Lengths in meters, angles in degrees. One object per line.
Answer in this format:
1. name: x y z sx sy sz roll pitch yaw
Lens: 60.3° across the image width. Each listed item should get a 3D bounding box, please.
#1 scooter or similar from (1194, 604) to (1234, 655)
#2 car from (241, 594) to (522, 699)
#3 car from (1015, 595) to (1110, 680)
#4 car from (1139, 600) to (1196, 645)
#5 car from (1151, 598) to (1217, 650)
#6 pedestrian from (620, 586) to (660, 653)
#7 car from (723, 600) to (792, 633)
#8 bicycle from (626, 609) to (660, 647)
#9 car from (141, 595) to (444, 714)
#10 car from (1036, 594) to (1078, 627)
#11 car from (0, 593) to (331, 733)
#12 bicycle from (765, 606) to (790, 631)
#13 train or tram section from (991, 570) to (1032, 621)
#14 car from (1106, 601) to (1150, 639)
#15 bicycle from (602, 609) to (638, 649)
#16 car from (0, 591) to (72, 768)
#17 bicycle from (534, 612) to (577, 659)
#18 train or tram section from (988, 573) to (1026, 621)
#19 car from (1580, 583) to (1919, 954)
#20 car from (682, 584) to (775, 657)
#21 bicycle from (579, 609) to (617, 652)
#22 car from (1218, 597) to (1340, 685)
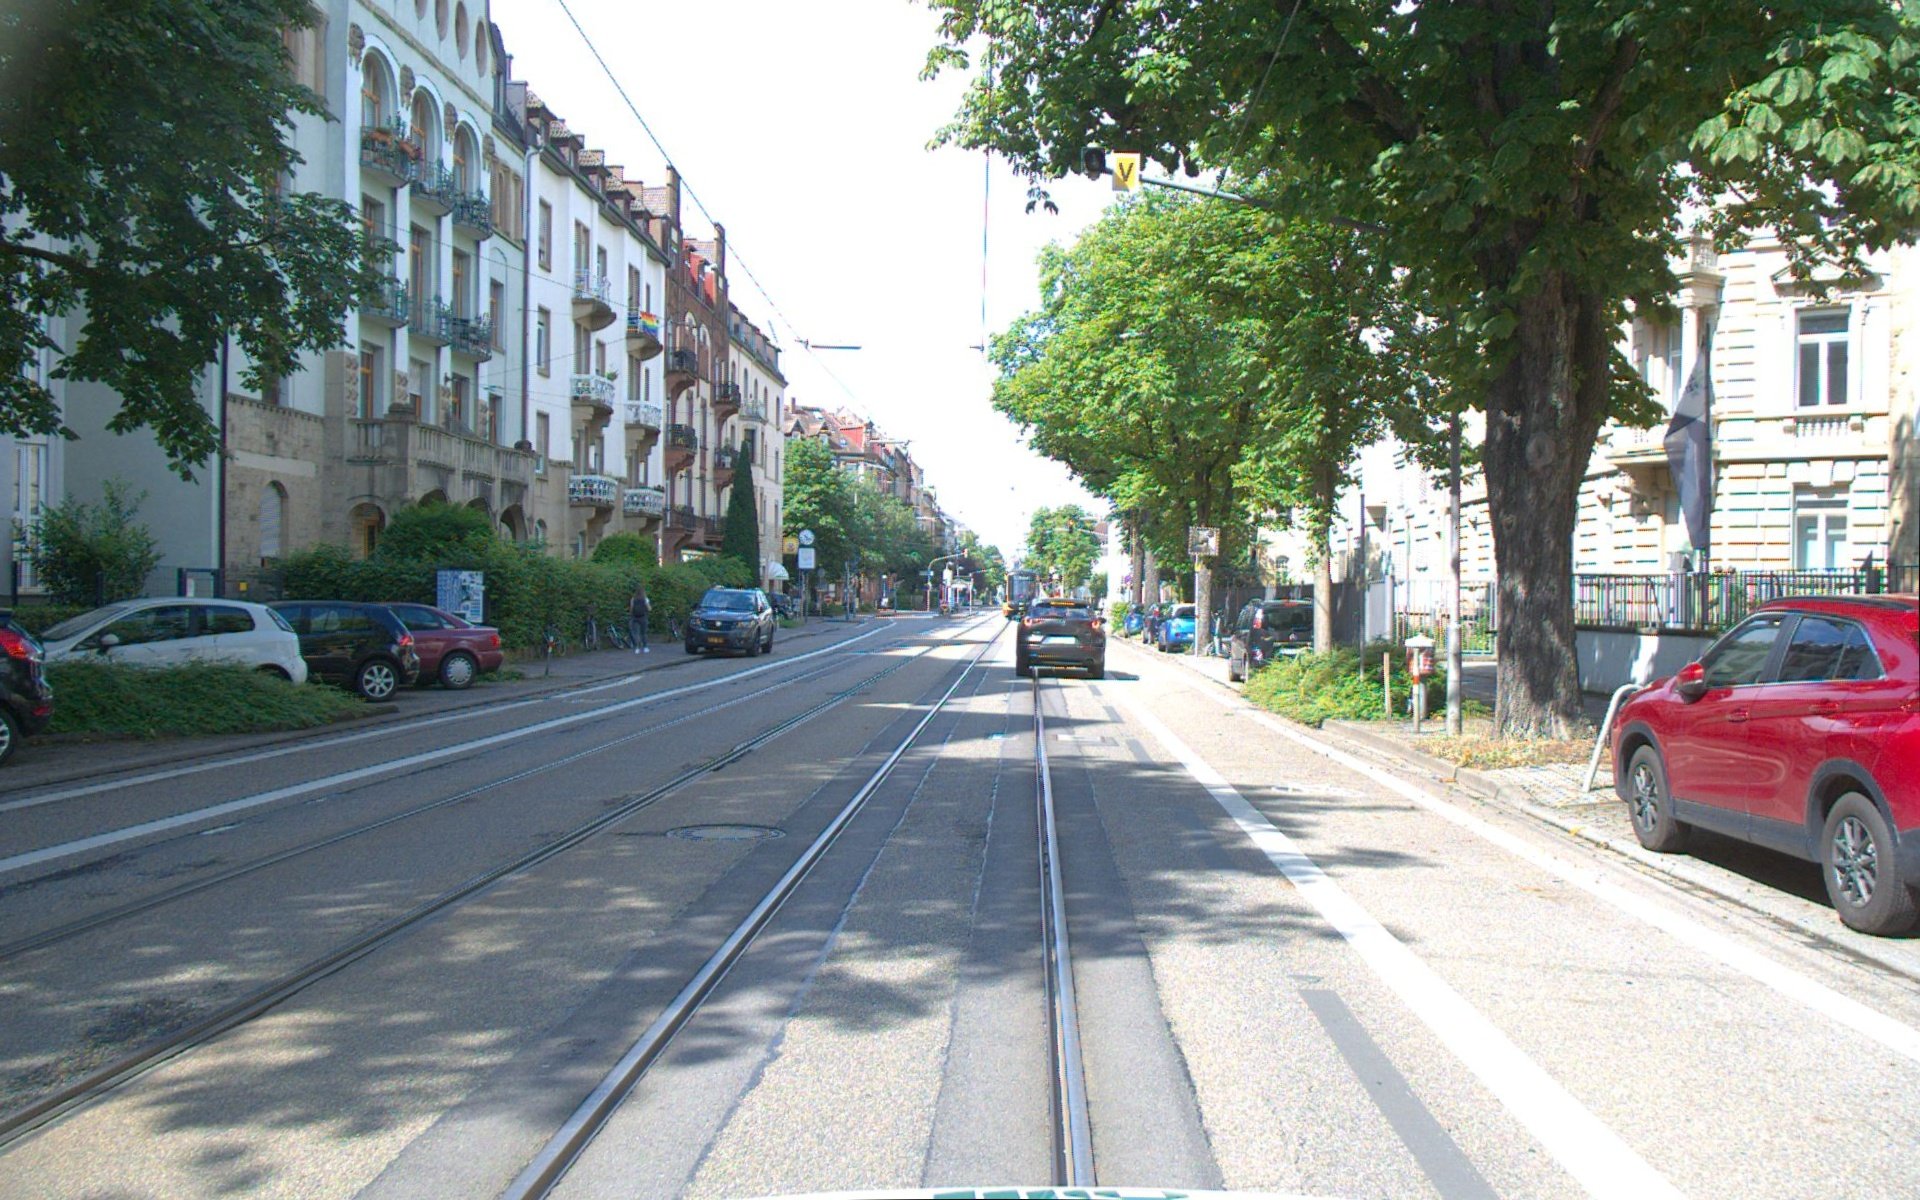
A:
1. scooter or similar: 6.863 0.785 44.724 0.436 1.322 1.171 -3 2 -28
2. car: -9.392 0.719 27.010 3.935 1.510 1.819 -2 0 -41
3. car: 2.050 0.714 34.041 1.752 1.538 4.351 2 1 1
4. car: 7.445 0.794 59.564 1.606 1.522 3.758 -1 0 0
5. car: 6.966 0.719 51.660 1.606 1.522 3.627 -1 0 1
6. pedestrian: -7.823 0.478 40.451 0.665 1.595 0.882 2 0 4
7. car: -10.347 0.834 84.780 3.168 1.539 1.680 2 0 6
8. bicycle: -8.477 0.739 44.234 0.375 0.976 1.922 2 0 4
9. car: -9.631 0.736 23.973 3.768 1.510 1.675 -2 0 -38
10. car: 4.707 0.485 80.530 1.748 1.518 4.883 0 0 0
11. car: -10.055 0.721 20.620 3.777 1.510 1.671 -2 0 -44
12. bicycle: -7.414 0.761 67.163 0.500 0.976 1.816 3 -1 9
13. train or tram section: 3.683 -0.274 119.793 2.598 3.589 8.495 0 0 -1
14. car: 7.079 0.841 69.994 1.590 1.522 3.849 -1 0 2
15. bicycle: -8.647 0.730 42.100 0.375 0.976 1.811 2 0 4
16. car: -9.898 0.737 13.955 3.963 1.510 1.715 -2 0 -41
17. bicycle: -8.966 0.778 36.703 0.375 0.976 1.811 2 0 4
18. train or tram section: 3.585 -0.226 128.282 2.598 3.589 8.495 0 0 -1
19. car: 5.331 0.759 9.612 1.837 1.705 4.282 -1 0 0
20. car: -6.001 0.502 43.440 1.748 1.793 4.883 0 0 0
21. bicycle: -8.756 0.728 40.010 0.375 0.976 1.811 2 0 4
22. car: 6.277 0.778 32.936 1.662 1.619 4.203 -1 0 1
